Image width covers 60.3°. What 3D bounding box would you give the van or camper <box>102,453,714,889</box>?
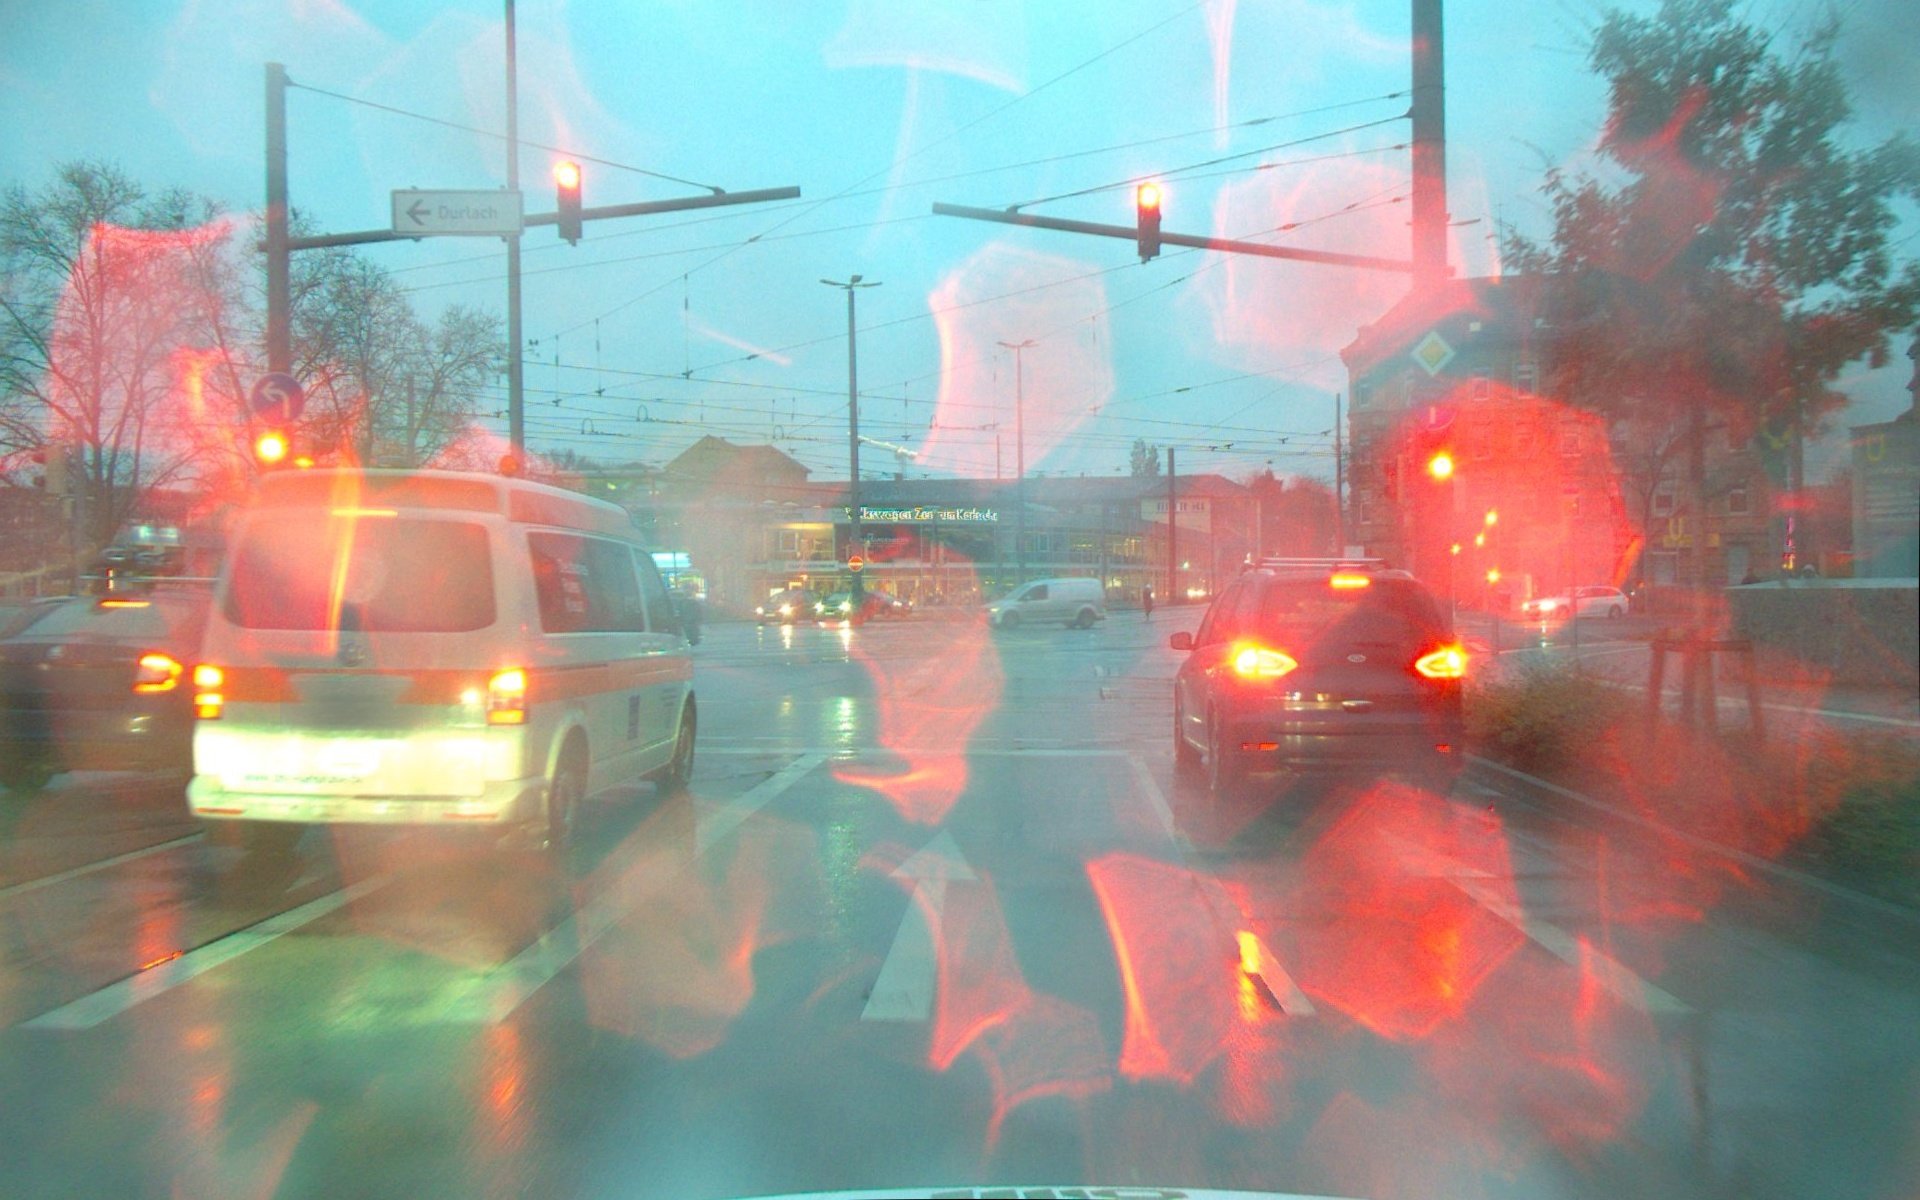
[{"bbox_3d":[-3.123,0.348,10.734,2.156,2.146,4.988,1,0,2],"label":"van or camper"}]

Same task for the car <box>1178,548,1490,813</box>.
[{"bbox_3d":[2.878,0.531,13.669,1.741,1.832,4.426,0,1,2],"label":"car"}]

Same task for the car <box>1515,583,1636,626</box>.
[{"bbox_3d":[25.567,0.186,68.695,4.727,1.686,1.730,-1,0,-20],"label":"car"}]

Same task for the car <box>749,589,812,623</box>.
[{"bbox_3d":[-8.108,0.262,75.097,1.774,1.472,4.003,-1,0,9],"label":"car"}]

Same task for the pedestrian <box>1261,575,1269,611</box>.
[{"bbox_3d":[17.352,-0.405,94.123,0.336,2.049,0.418,-1,0,16],"label":"pedestrian"}]

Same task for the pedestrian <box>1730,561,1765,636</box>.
[{"bbox_3d":[21.188,-0.035,44.494,0.665,1.984,0.673,-1,0,40],"label":"pedestrian"}]

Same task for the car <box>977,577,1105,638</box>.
[{"bbox_3d":[2.959,0.298,60.744,4.330,2.049,1.903,1,-3,-16],"label":"car"}]

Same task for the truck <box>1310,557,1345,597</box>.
[{"bbox_3d":[26.353,-1.648,118.406,1.951,2.738,5.118,-1,0,18],"label":"truck"}]

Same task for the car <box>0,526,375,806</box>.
[{"bbox_3d":[-6.084,0.422,12.657,1.846,1.803,3.999,0,0,-1],"label":"car"}]

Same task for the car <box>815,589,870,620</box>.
[{"bbox_3d":[-5.766,0.208,81.755,1.774,1.472,4.003,-1,0,9],"label":"car"}]

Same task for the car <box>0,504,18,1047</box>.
[{"bbox_3d":[-3.209,0.551,1.853,1.749,1.628,4.540,2,0,-2],"label":"car"}]

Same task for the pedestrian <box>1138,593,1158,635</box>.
[{"bbox_3d":[8.413,0.612,73.945,0.586,1.872,0.611,-1,0,-34],"label":"pedestrian"}]

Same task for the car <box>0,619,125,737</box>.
[{"bbox_3d":[-13.011,1.000,21.844,1.769,1.444,4.819,0,0,-4],"label":"car"}]

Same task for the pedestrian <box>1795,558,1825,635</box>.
[{"bbox_3d":[22.072,-0.090,42.959,0.663,1.984,0.661,-1,0,28],"label":"pedestrian"}]

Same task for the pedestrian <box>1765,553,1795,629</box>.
[{"bbox_3d":[21.548,-0.238,43.450,0.663,1.984,0.661,-1,0,29],"label":"pedestrian"}]
